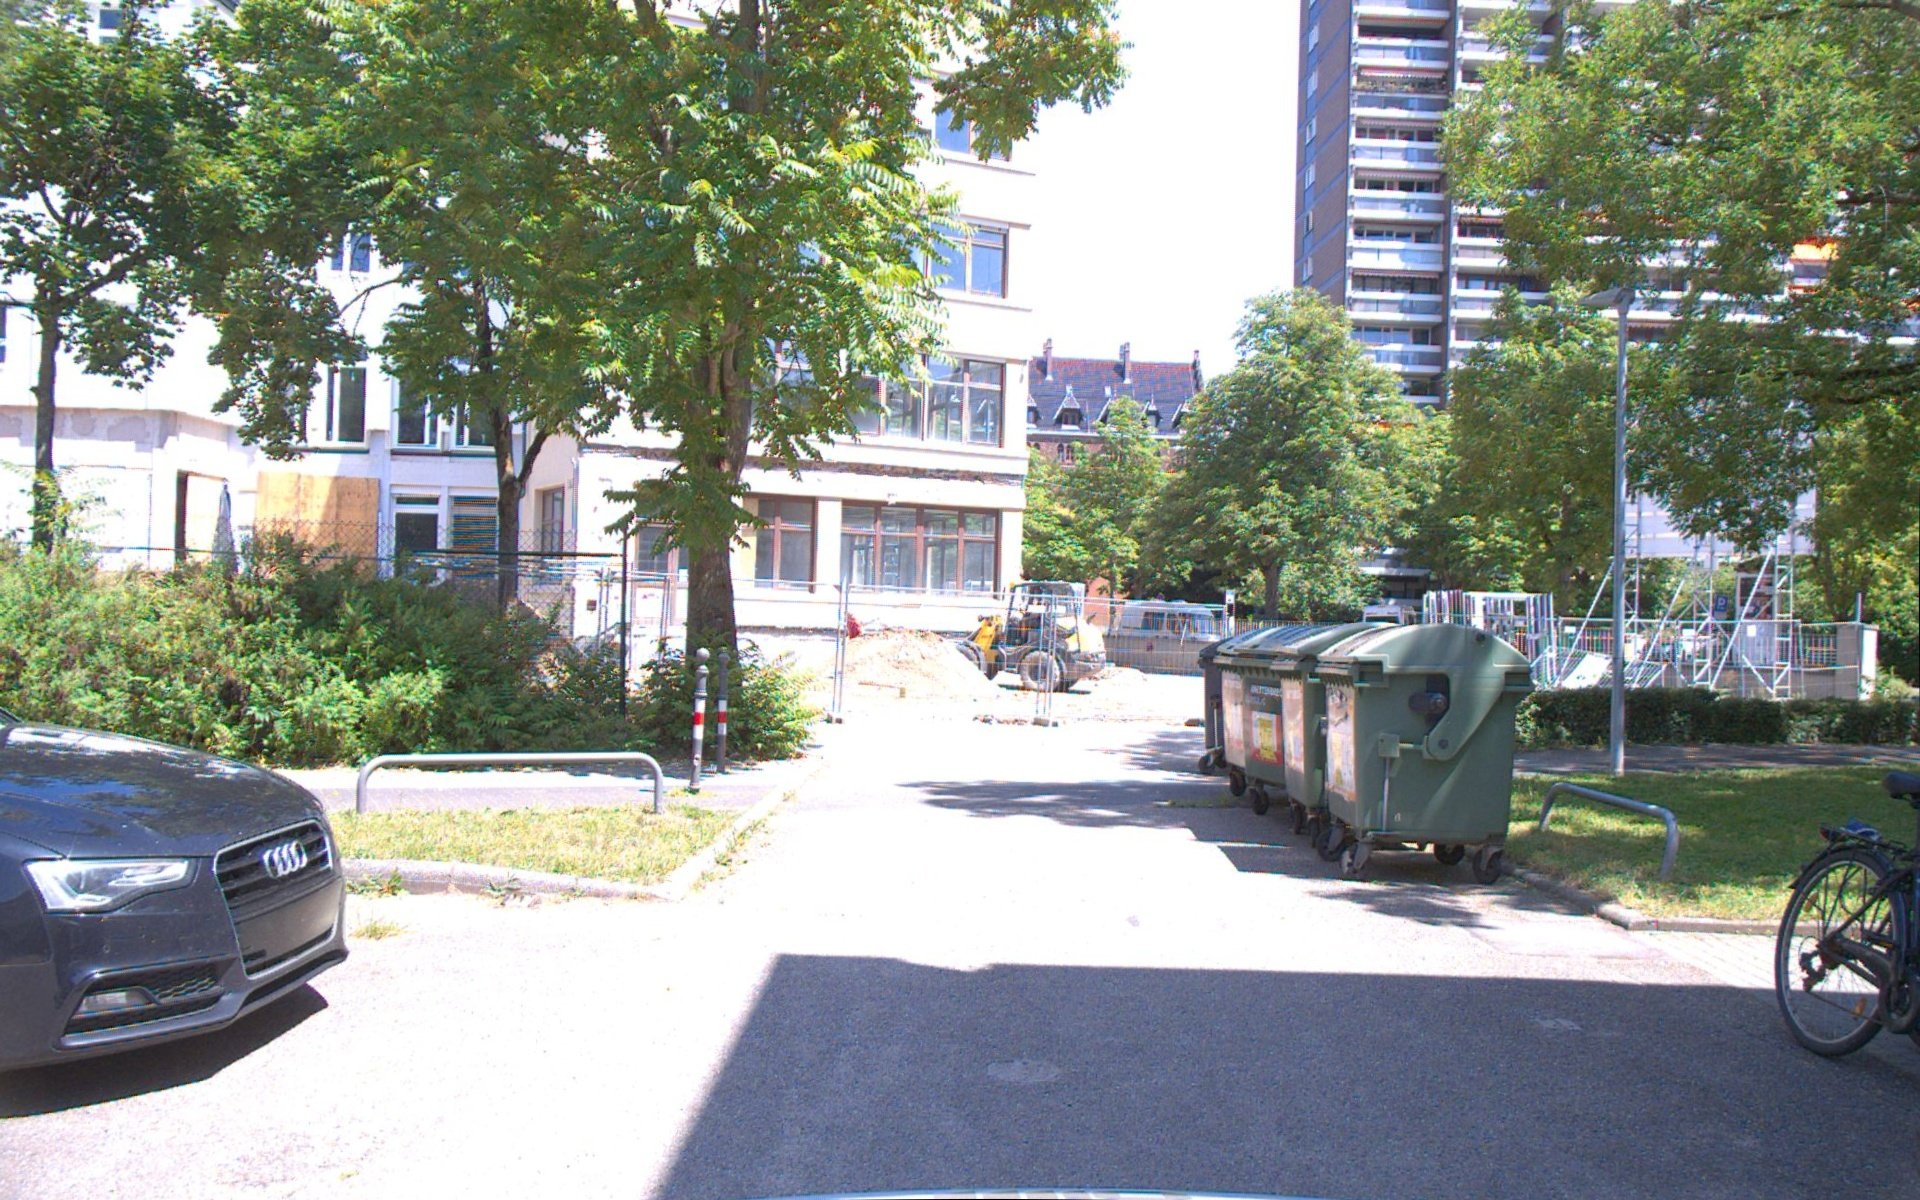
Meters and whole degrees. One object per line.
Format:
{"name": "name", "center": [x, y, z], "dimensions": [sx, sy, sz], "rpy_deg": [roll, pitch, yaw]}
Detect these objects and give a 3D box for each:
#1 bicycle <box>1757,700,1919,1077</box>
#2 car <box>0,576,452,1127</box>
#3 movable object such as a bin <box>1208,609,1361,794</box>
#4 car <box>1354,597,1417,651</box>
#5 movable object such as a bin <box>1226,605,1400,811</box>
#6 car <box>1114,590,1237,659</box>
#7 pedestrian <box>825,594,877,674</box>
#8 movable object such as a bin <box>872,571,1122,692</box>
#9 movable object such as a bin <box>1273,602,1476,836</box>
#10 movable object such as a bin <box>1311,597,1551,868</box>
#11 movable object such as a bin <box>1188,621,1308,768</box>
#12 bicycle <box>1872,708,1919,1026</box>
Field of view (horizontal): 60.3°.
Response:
{"name": "bicycle", "center": [3.179, 0.923, 5.275], "dimensions": [0.396, 1.121, 1.826], "rpy_deg": [1, -1, 0]}
{"name": "car", "center": [-4.158, 0.620, 5.340], "dimensions": [4.337, 1.404, 2.024], "rpy_deg": [1, -1, 2]}
{"name": "movable object such as a bin", "center": [2.764, 0.842, 14.240], "dimensions": [1.053, 1.483, 1.377], "rpy_deg": [1, -1, 1]}
{"name": "car", "center": [19.323, 1.109, 74.960], "dimensions": [2.139, 2.298, 4.868], "rpy_deg": [1, -1, 21]}
{"name": "movable object such as a bin", "center": [2.700, 0.801, 12.819], "dimensions": [1.053, 1.483, 1.377], "rpy_deg": [1, -1, 1]}
{"name": "car", "center": [8.130, 0.921, 63.002], "dimensions": [1.971, 2.459, 5.194], "rpy_deg": [2, -1, -28]}
{"name": "pedestrian", "center": [-2.596, 0.805, 39.406], "dimensions": [0.895, 1.879, 0.986], "rpy_deg": [1, -1, 18]}
{"name": "movable object such as a bin", "center": [0.856, 0.704, 38.957], "dimensions": [5.300, 2.507, 2.364], "rpy_deg": [3, 0, 28]}
{"name": "movable object such as a bin", "center": [2.800, 0.777, 11.347], "dimensions": [1.053, 1.483, 1.377], "rpy_deg": [1, -1, 1]}
{"name": "movable object such as a bin", "center": [2.772, 0.751, 9.904], "dimensions": [1.053, 1.483, 1.377], "rpy_deg": [1, -1, 1]}
{"name": "movable object such as a bin", "center": [3.063, 0.985, 17.745], "dimensions": [1.053, 1.483, 1.377], "rpy_deg": [1, -1, 1]}
{"name": "bicycle", "center": [3.638, 0.957, 5.327], "dimensions": [0.396, 1.121, 1.826], "rpy_deg": [1, -1, 0]}
